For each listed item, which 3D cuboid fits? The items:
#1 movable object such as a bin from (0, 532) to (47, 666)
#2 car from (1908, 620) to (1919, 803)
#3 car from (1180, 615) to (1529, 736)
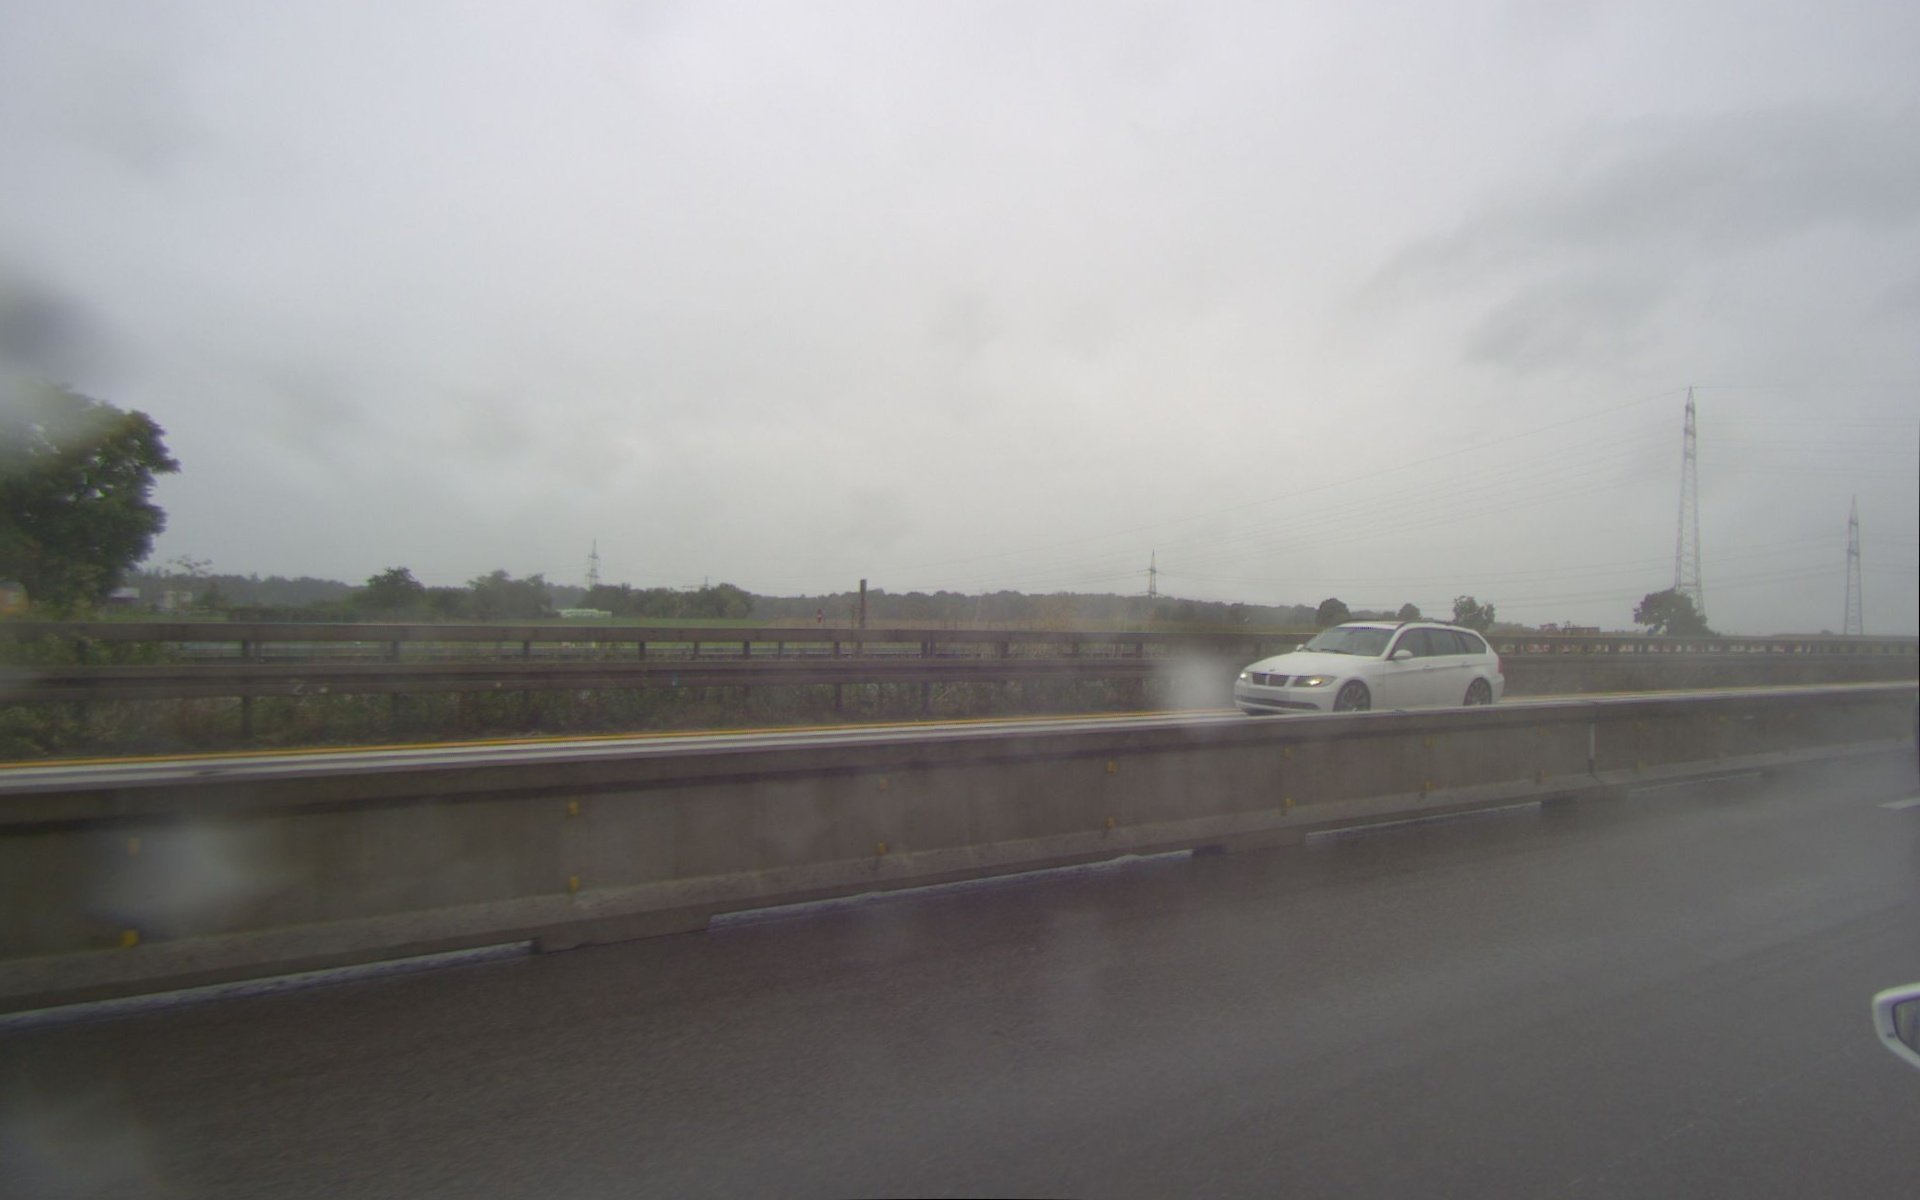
[{"bbox_3d":[-32.439,-0.209,29.042,8.368,3.971,2.715,3,-1,-31],"label":"movable object such as a bin"},{"bbox_3d":[10.944,1.100,9.525,4.792,1.619,1.691,3,-1,-32],"label":"car"},{"bbox_3d":[5.783,1.001,14.451,5.373,1.457,1.719,2,0,-30],"label":"car"}]
